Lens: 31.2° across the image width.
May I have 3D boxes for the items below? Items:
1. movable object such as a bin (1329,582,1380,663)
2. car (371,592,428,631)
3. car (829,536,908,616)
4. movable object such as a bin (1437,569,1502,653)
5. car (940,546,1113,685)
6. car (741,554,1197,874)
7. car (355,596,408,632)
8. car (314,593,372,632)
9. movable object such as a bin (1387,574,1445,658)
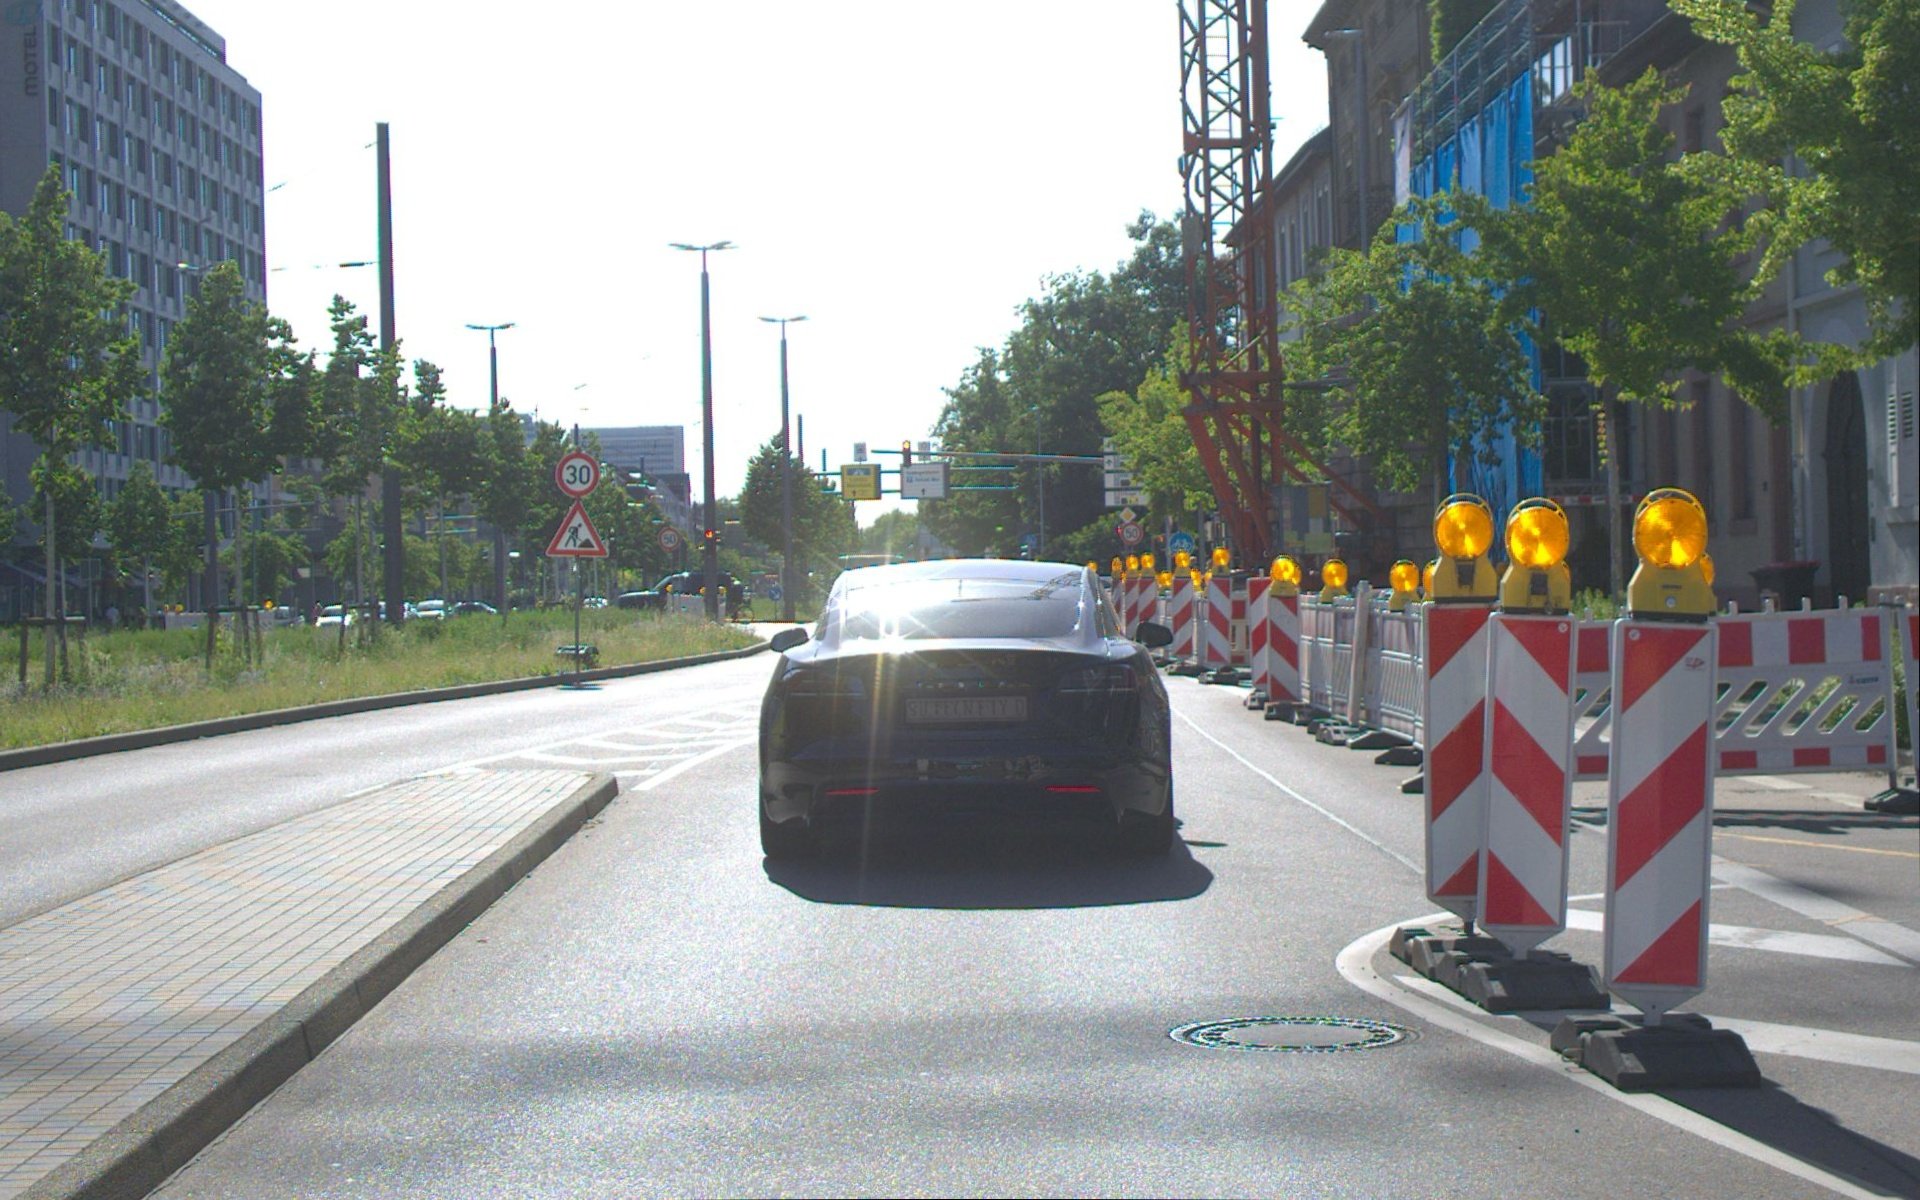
[{"bbox_3d":[5.238,0.293,45.665,0.587,1.054,0.730,0,0,0],"label":"movable object such as a bin"},{"bbox_3d":[-24.691,0.488,151.546,1.790,1.645,4.000,-2,0,0],"label":"car"},{"bbox_3d":[-2.635,-0.701,99.190,2.218,2.259,4.484,0,1,-2],"label":"car"},{"bbox_3d":[6.779,0.143,45.743,0.587,1.054,0.783,-6,1,-5],"label":"movable object such as a bin"},{"bbox_3d":[0.678,0.142,38.260,1.747,1.422,4.838,-1,0,-1],"label":"car"},{"bbox_3d":[0.007,0.494,17.705,2.051,1.439,4.524,0,0,-1],"label":"car"},{"bbox_3d":[-27.391,0.652,162.967,1.790,1.645,4.000,-2,0,0],"label":"car"},{"bbox_3d":[-27.492,0.561,153.291,1.790,1.645,4.000,-2,0,0],"label":"car"},{"bbox_3d":[6.092,0.210,45.993,0.595,1.054,0.730,-5,0,0],"label":"movable object such as a bin"}]
